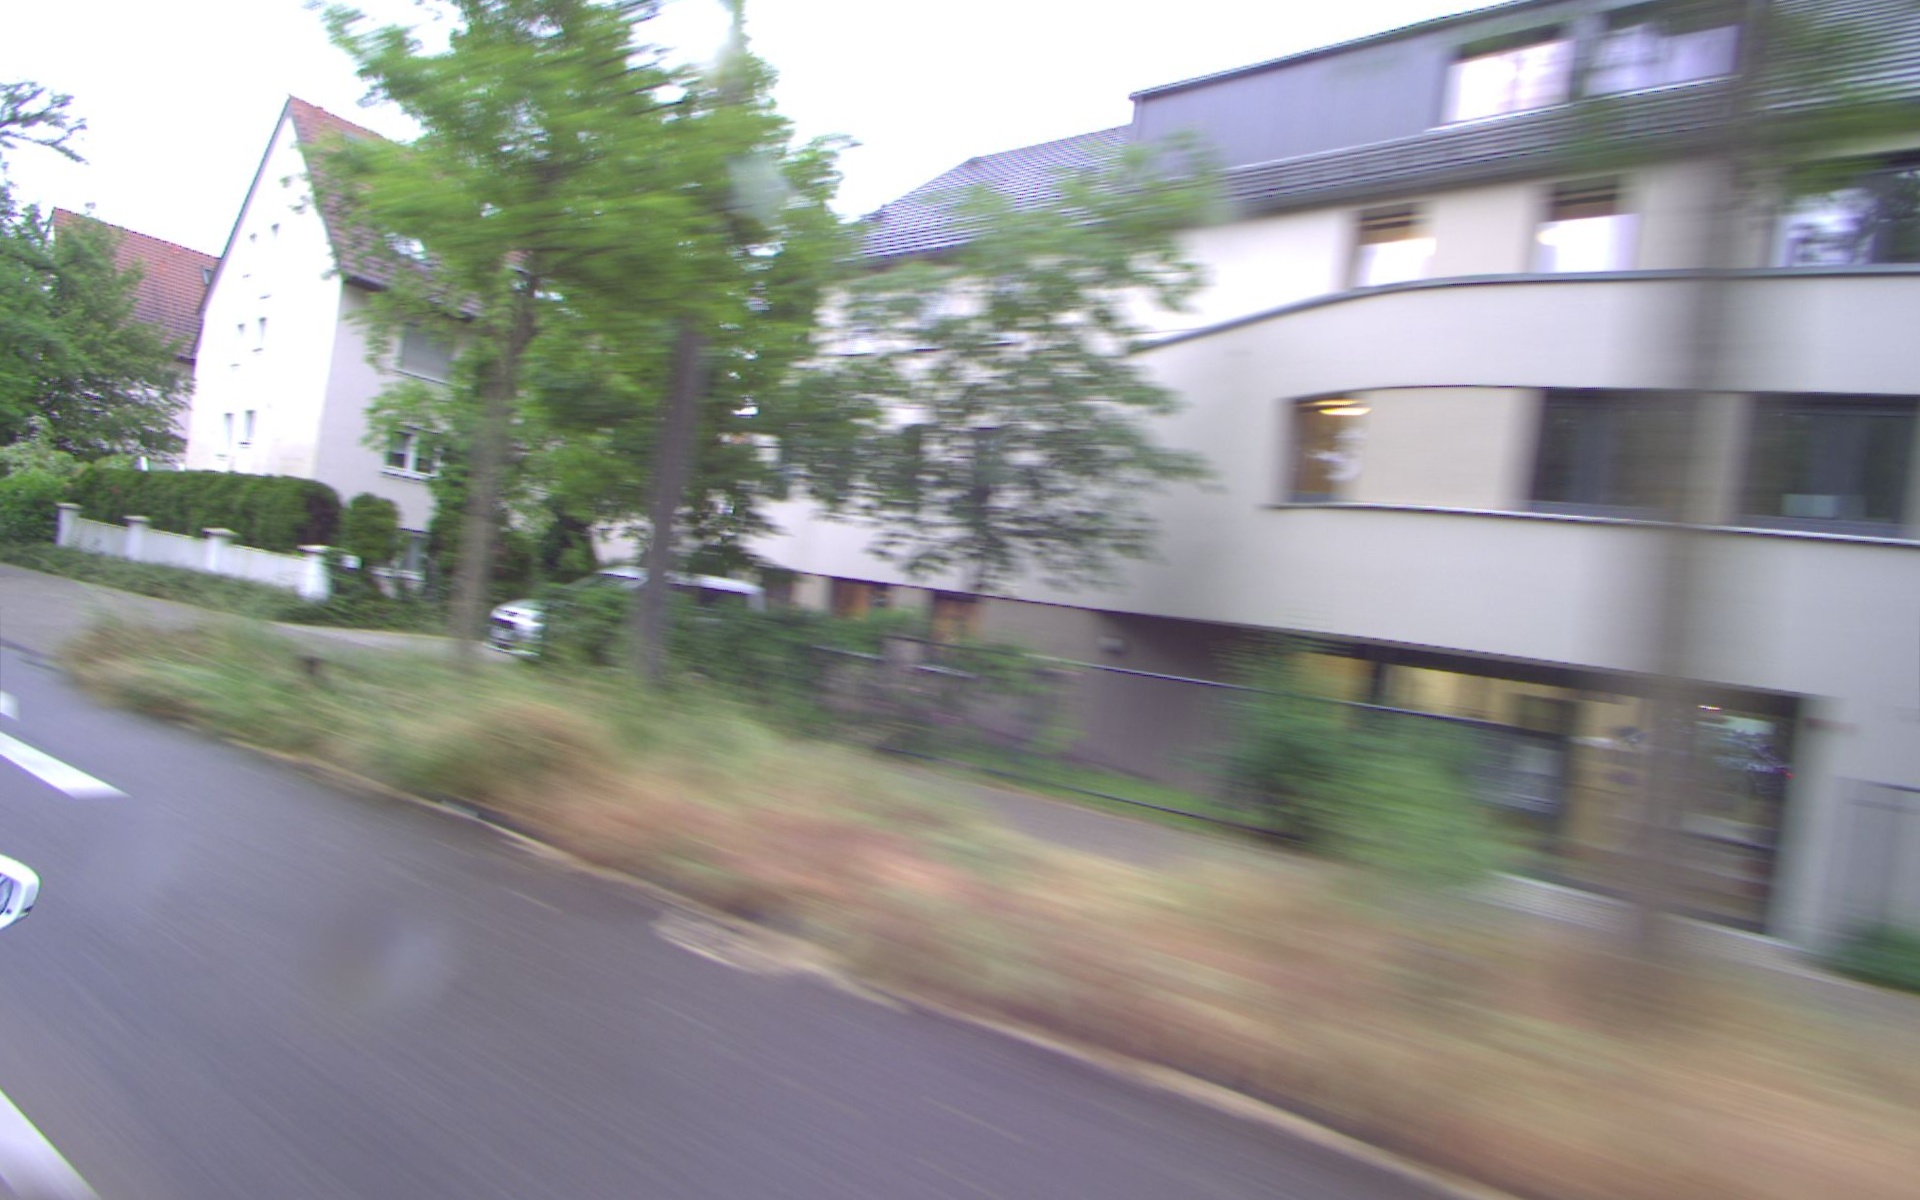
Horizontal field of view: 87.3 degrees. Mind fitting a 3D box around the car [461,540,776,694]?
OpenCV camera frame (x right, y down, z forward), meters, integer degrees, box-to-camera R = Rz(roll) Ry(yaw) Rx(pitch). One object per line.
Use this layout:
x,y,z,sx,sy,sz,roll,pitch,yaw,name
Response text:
-5.367,0.343,16.266,1.848,1.838,4.302,6,-3,42,car
